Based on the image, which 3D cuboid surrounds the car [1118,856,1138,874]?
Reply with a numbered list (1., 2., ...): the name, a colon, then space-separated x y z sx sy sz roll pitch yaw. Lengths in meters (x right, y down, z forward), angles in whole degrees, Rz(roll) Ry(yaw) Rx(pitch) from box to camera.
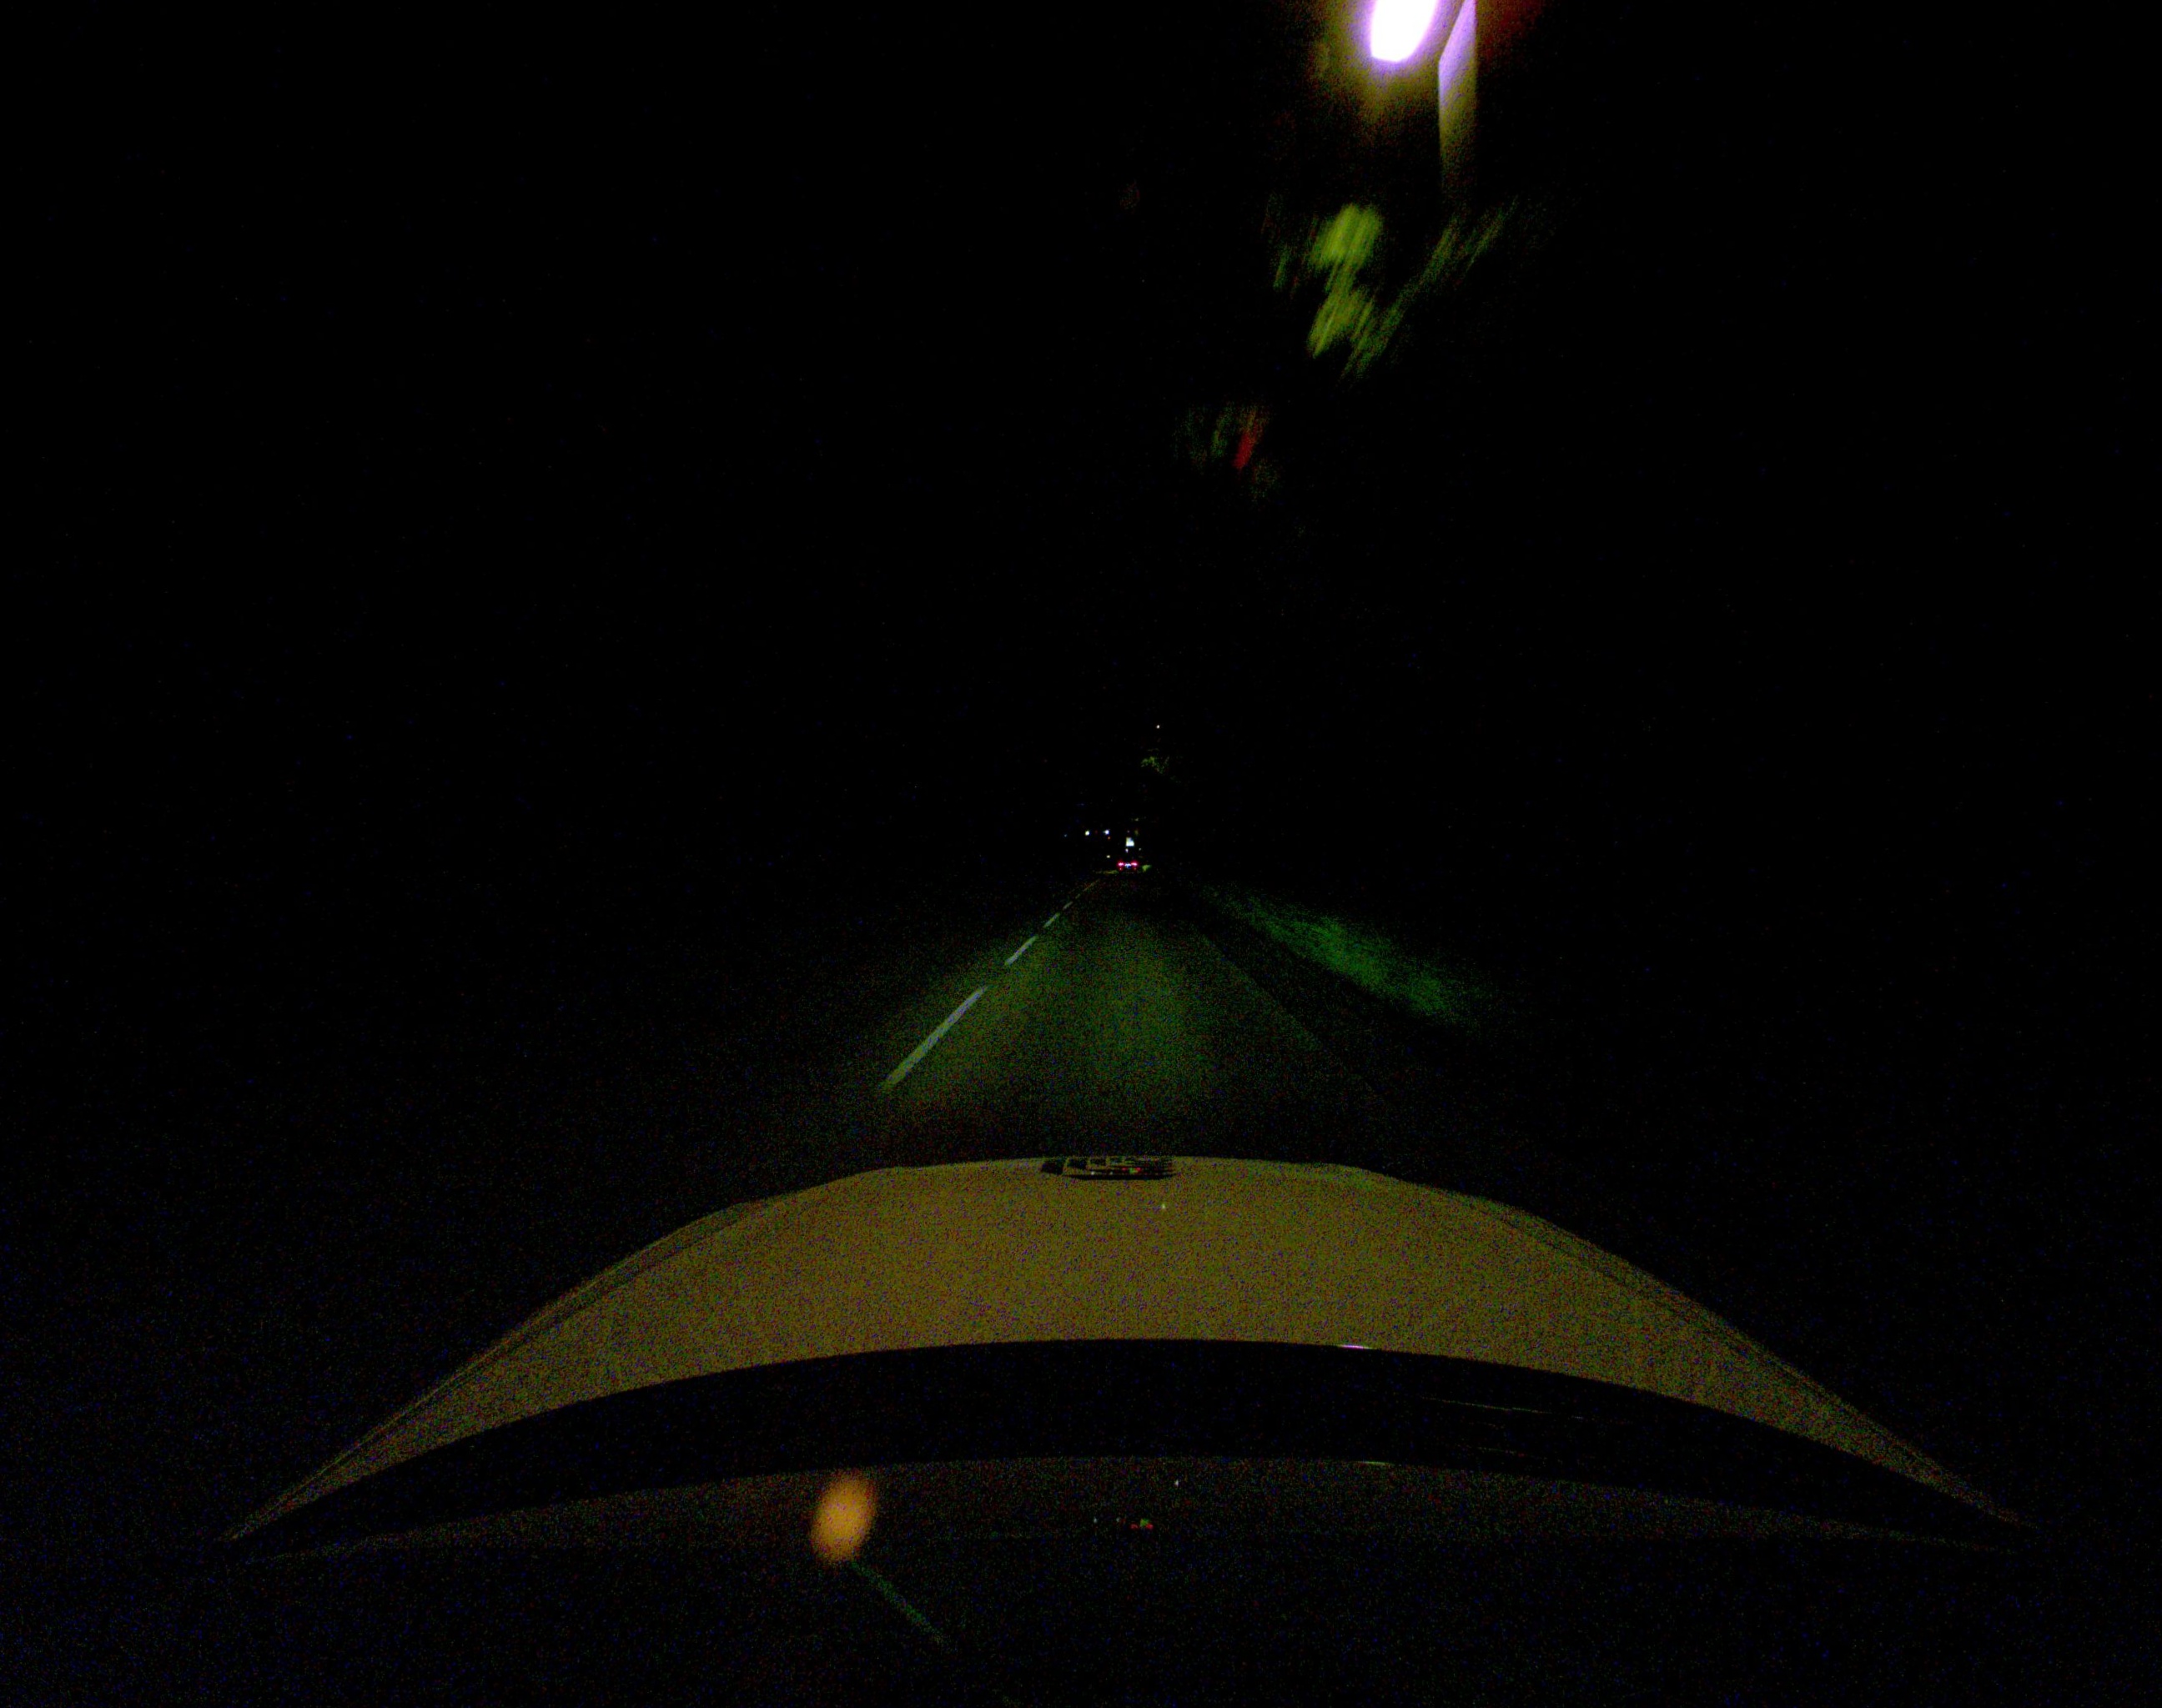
1. car: 4.539 1.010 78.140 1.755 1.642 3.727 -1 0 4
